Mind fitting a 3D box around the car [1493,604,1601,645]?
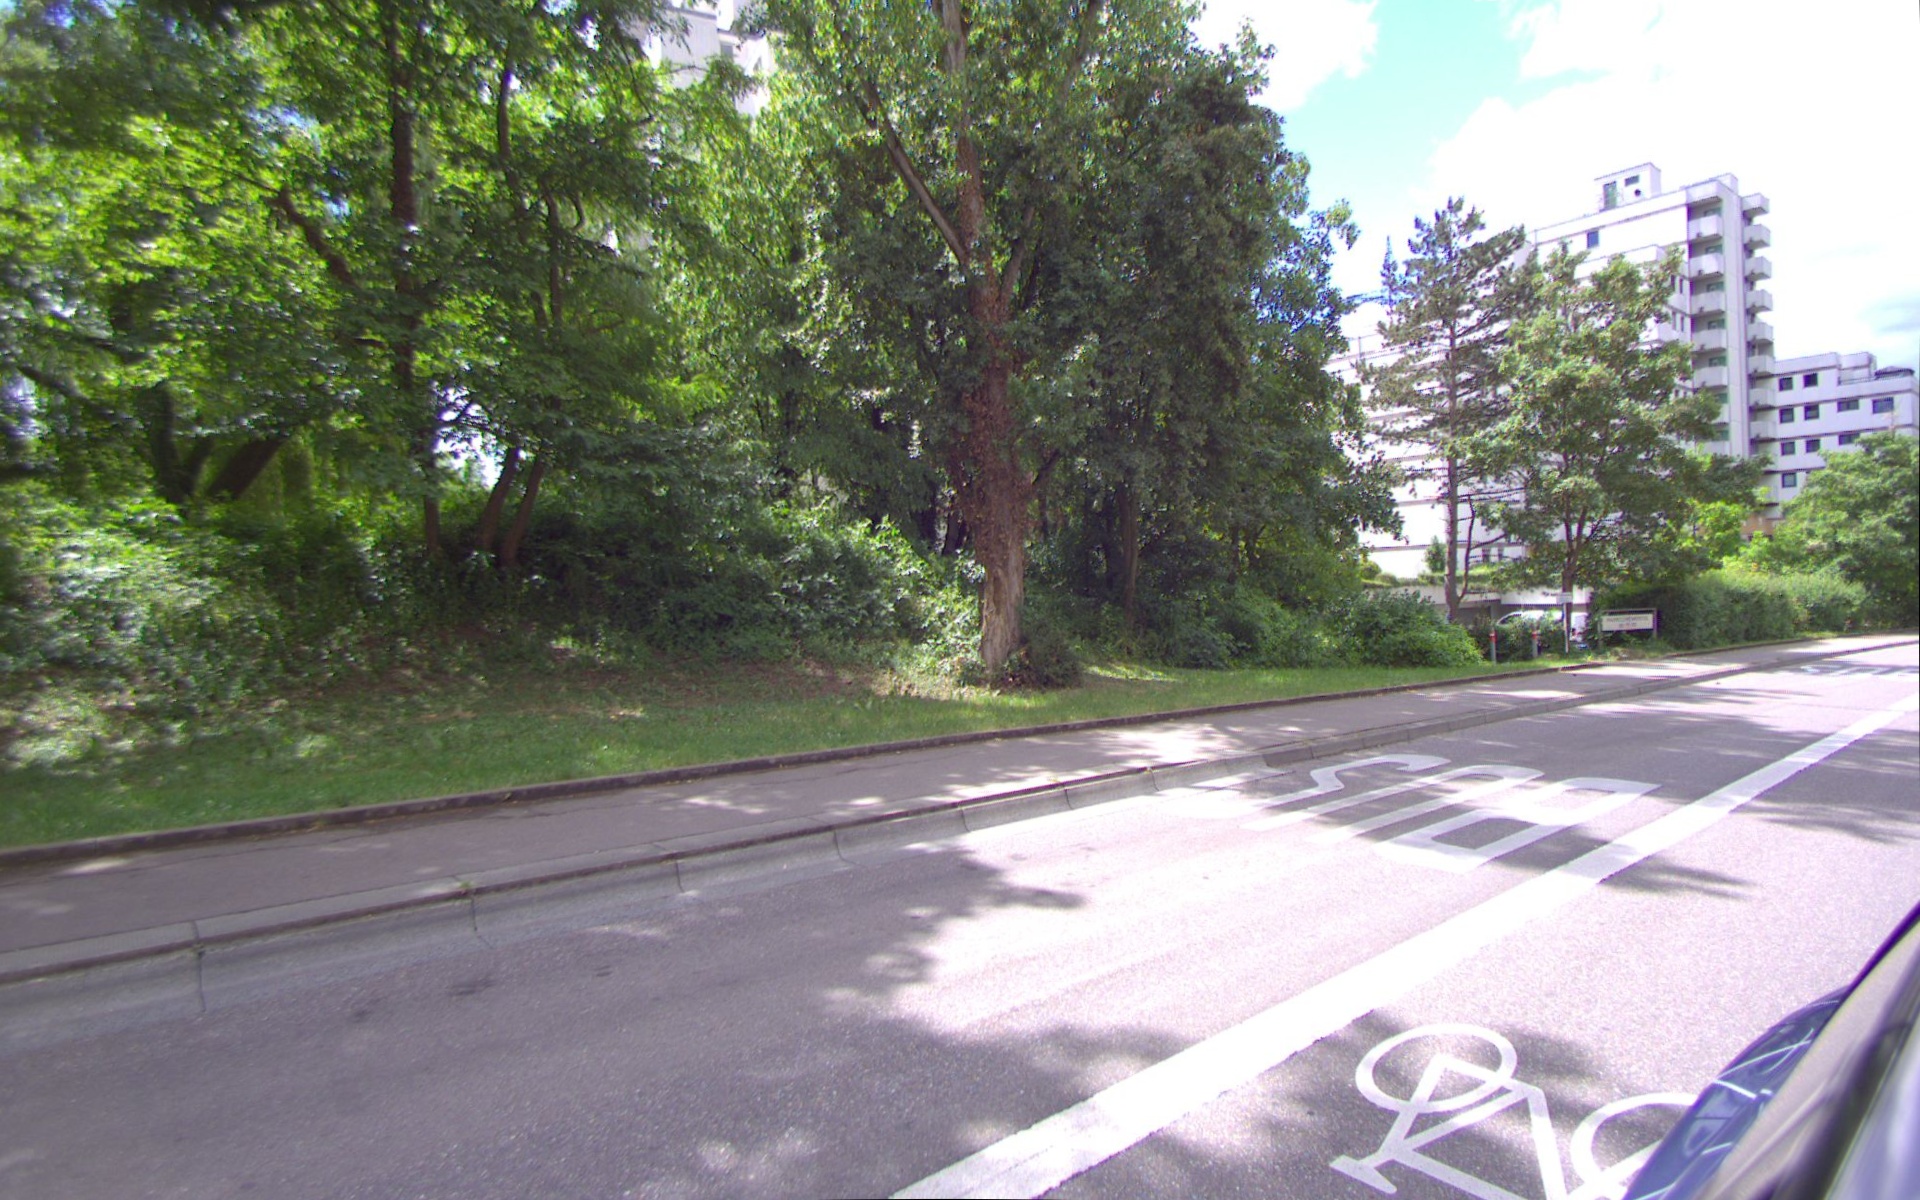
[{"bbox_3d":[31.037,1.241,53.643,1.962,2.039,4.549,-1,0,-34],"label":"car"}]
